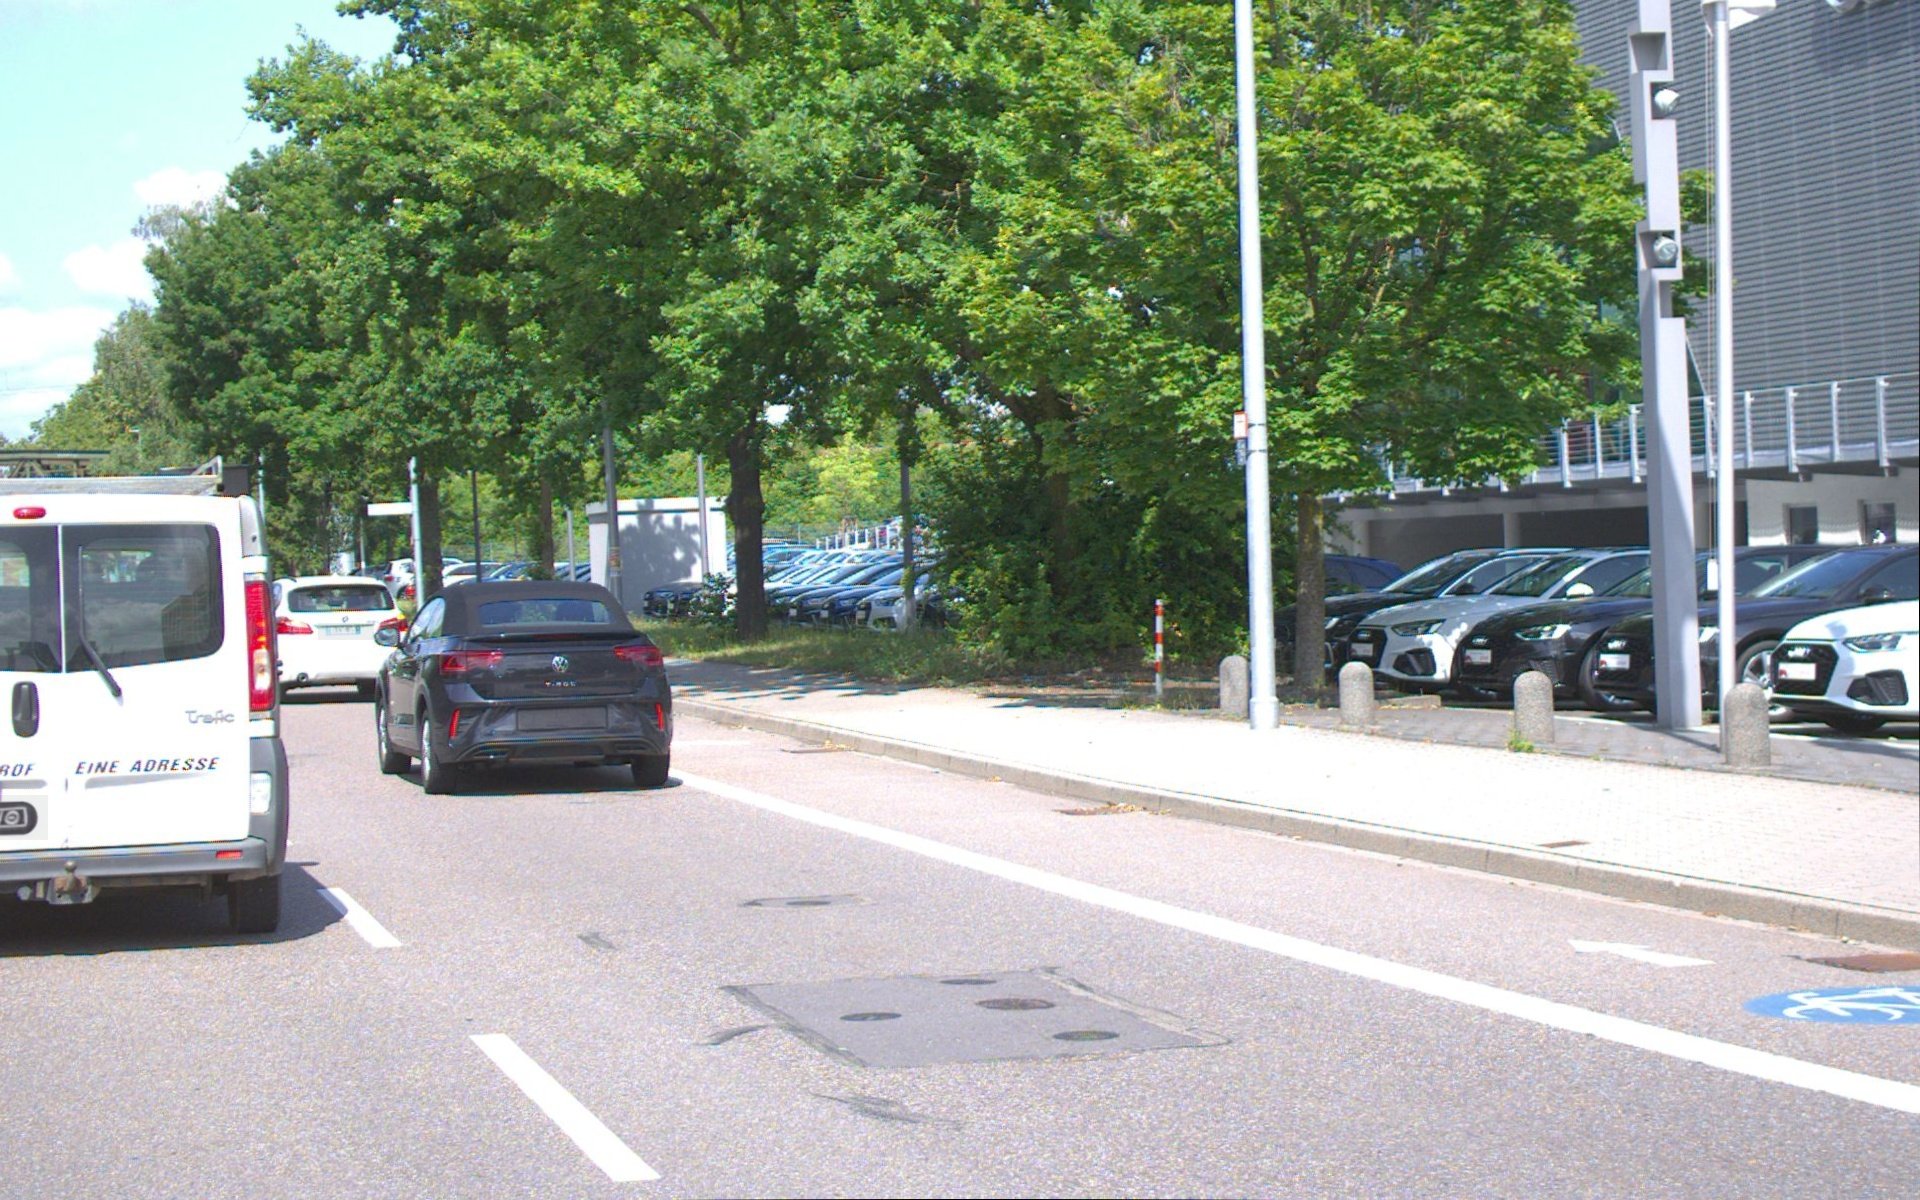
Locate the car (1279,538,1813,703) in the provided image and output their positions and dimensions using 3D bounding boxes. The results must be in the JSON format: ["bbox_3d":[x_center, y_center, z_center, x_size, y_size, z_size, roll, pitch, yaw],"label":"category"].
[{"bbox_3d":[5.526,0.184,32.577,4.573,1.400,1.908,1,2,-16],"label":"car"}]

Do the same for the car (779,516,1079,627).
[{"bbox_3d":[-0.521,-0.491,56.434,4.573,1.672,1.908,-2,2,-15],"label":"car"}]

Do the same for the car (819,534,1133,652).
[{"bbox_3d":[0.239,-0.135,54.145,4.573,1.672,1.908,-2,2,-15],"label":"car"}]

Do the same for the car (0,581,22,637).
[{"bbox_3d":[-27.895,0.259,97.968,1.854,1.437,4.001,-2,2,-21],"label":"car"}]

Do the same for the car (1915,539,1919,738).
[{"bbox_3d":[8.676,0.226,22.074,4.573,1.293,1.908,-2,2,-15],"label":"car"}]

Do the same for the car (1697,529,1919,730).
[{"bbox_3d":[7.819,0.141,24.675,4.573,1.293,1.908,-2,2,-15],"label":"car"}]

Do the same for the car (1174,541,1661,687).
[{"bbox_3d":[4.676,0.107,35.333,4.573,1.400,1.908,0,2,-16],"label":"car"}]

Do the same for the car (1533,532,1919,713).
[{"bbox_3d":[7.114,0.197,27.497,4.573,1.293,1.908,2,1,-16],"label":"car"}]

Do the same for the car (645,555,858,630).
[{"bbox_3d":[-4.353,-0.180,71.604,4.106,1.440,1.856,-1,1,-15],"label":"car"}]

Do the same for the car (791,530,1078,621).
[{"bbox_3d":[-0.453,-0.439,59.002,4.573,1.400,1.908,-2,2,-15],"label":"car"}]

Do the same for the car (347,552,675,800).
[{"bbox_3d":[-3.460,0.497,25.896,1.773,1.623,4.001,-2,2,-17],"label":"car"}]

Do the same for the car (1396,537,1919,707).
[{"bbox_3d":[6.302,0.173,29.894,4.573,1.379,1.908,0,2,-16],"label":"car"}]

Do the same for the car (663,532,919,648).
[{"bbox_3d":[-3.254,-0.215,66.022,4.573,2.042,1.908,-2,2,-15],"label":"car"}]

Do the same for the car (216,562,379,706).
[{"bbox_3d":[-8.418,0.386,43.463,1.773,1.623,4.001,-2,2,-14],"label":"car"}]

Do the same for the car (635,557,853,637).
[{"bbox_3d":[-4.655,-0.080,73.950,4.354,1.507,1.856,-3,1,-15],"label":"car"}]

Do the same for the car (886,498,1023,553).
[{"bbox_3d":[-0.206,-2.559,117.625,4.354,1.768,1.937,-1,2,-12],"label":"car"}]

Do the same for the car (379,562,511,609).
[{"bbox_3d":[-18.194,-0.514,121.339,4.354,1.507,1.937,-2,2,-17],"label":"car"}]

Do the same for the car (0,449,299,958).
[{"bbox_3d":[-4.424,0.379,16.266,1.972,2.052,4.566,-2,2,-17],"label":"car"}]

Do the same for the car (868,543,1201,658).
[{"bbox_3d":[1.100,-0.003,51.526,4.573,1.493,1.908,-2,1,-15],"label":"car"}]
